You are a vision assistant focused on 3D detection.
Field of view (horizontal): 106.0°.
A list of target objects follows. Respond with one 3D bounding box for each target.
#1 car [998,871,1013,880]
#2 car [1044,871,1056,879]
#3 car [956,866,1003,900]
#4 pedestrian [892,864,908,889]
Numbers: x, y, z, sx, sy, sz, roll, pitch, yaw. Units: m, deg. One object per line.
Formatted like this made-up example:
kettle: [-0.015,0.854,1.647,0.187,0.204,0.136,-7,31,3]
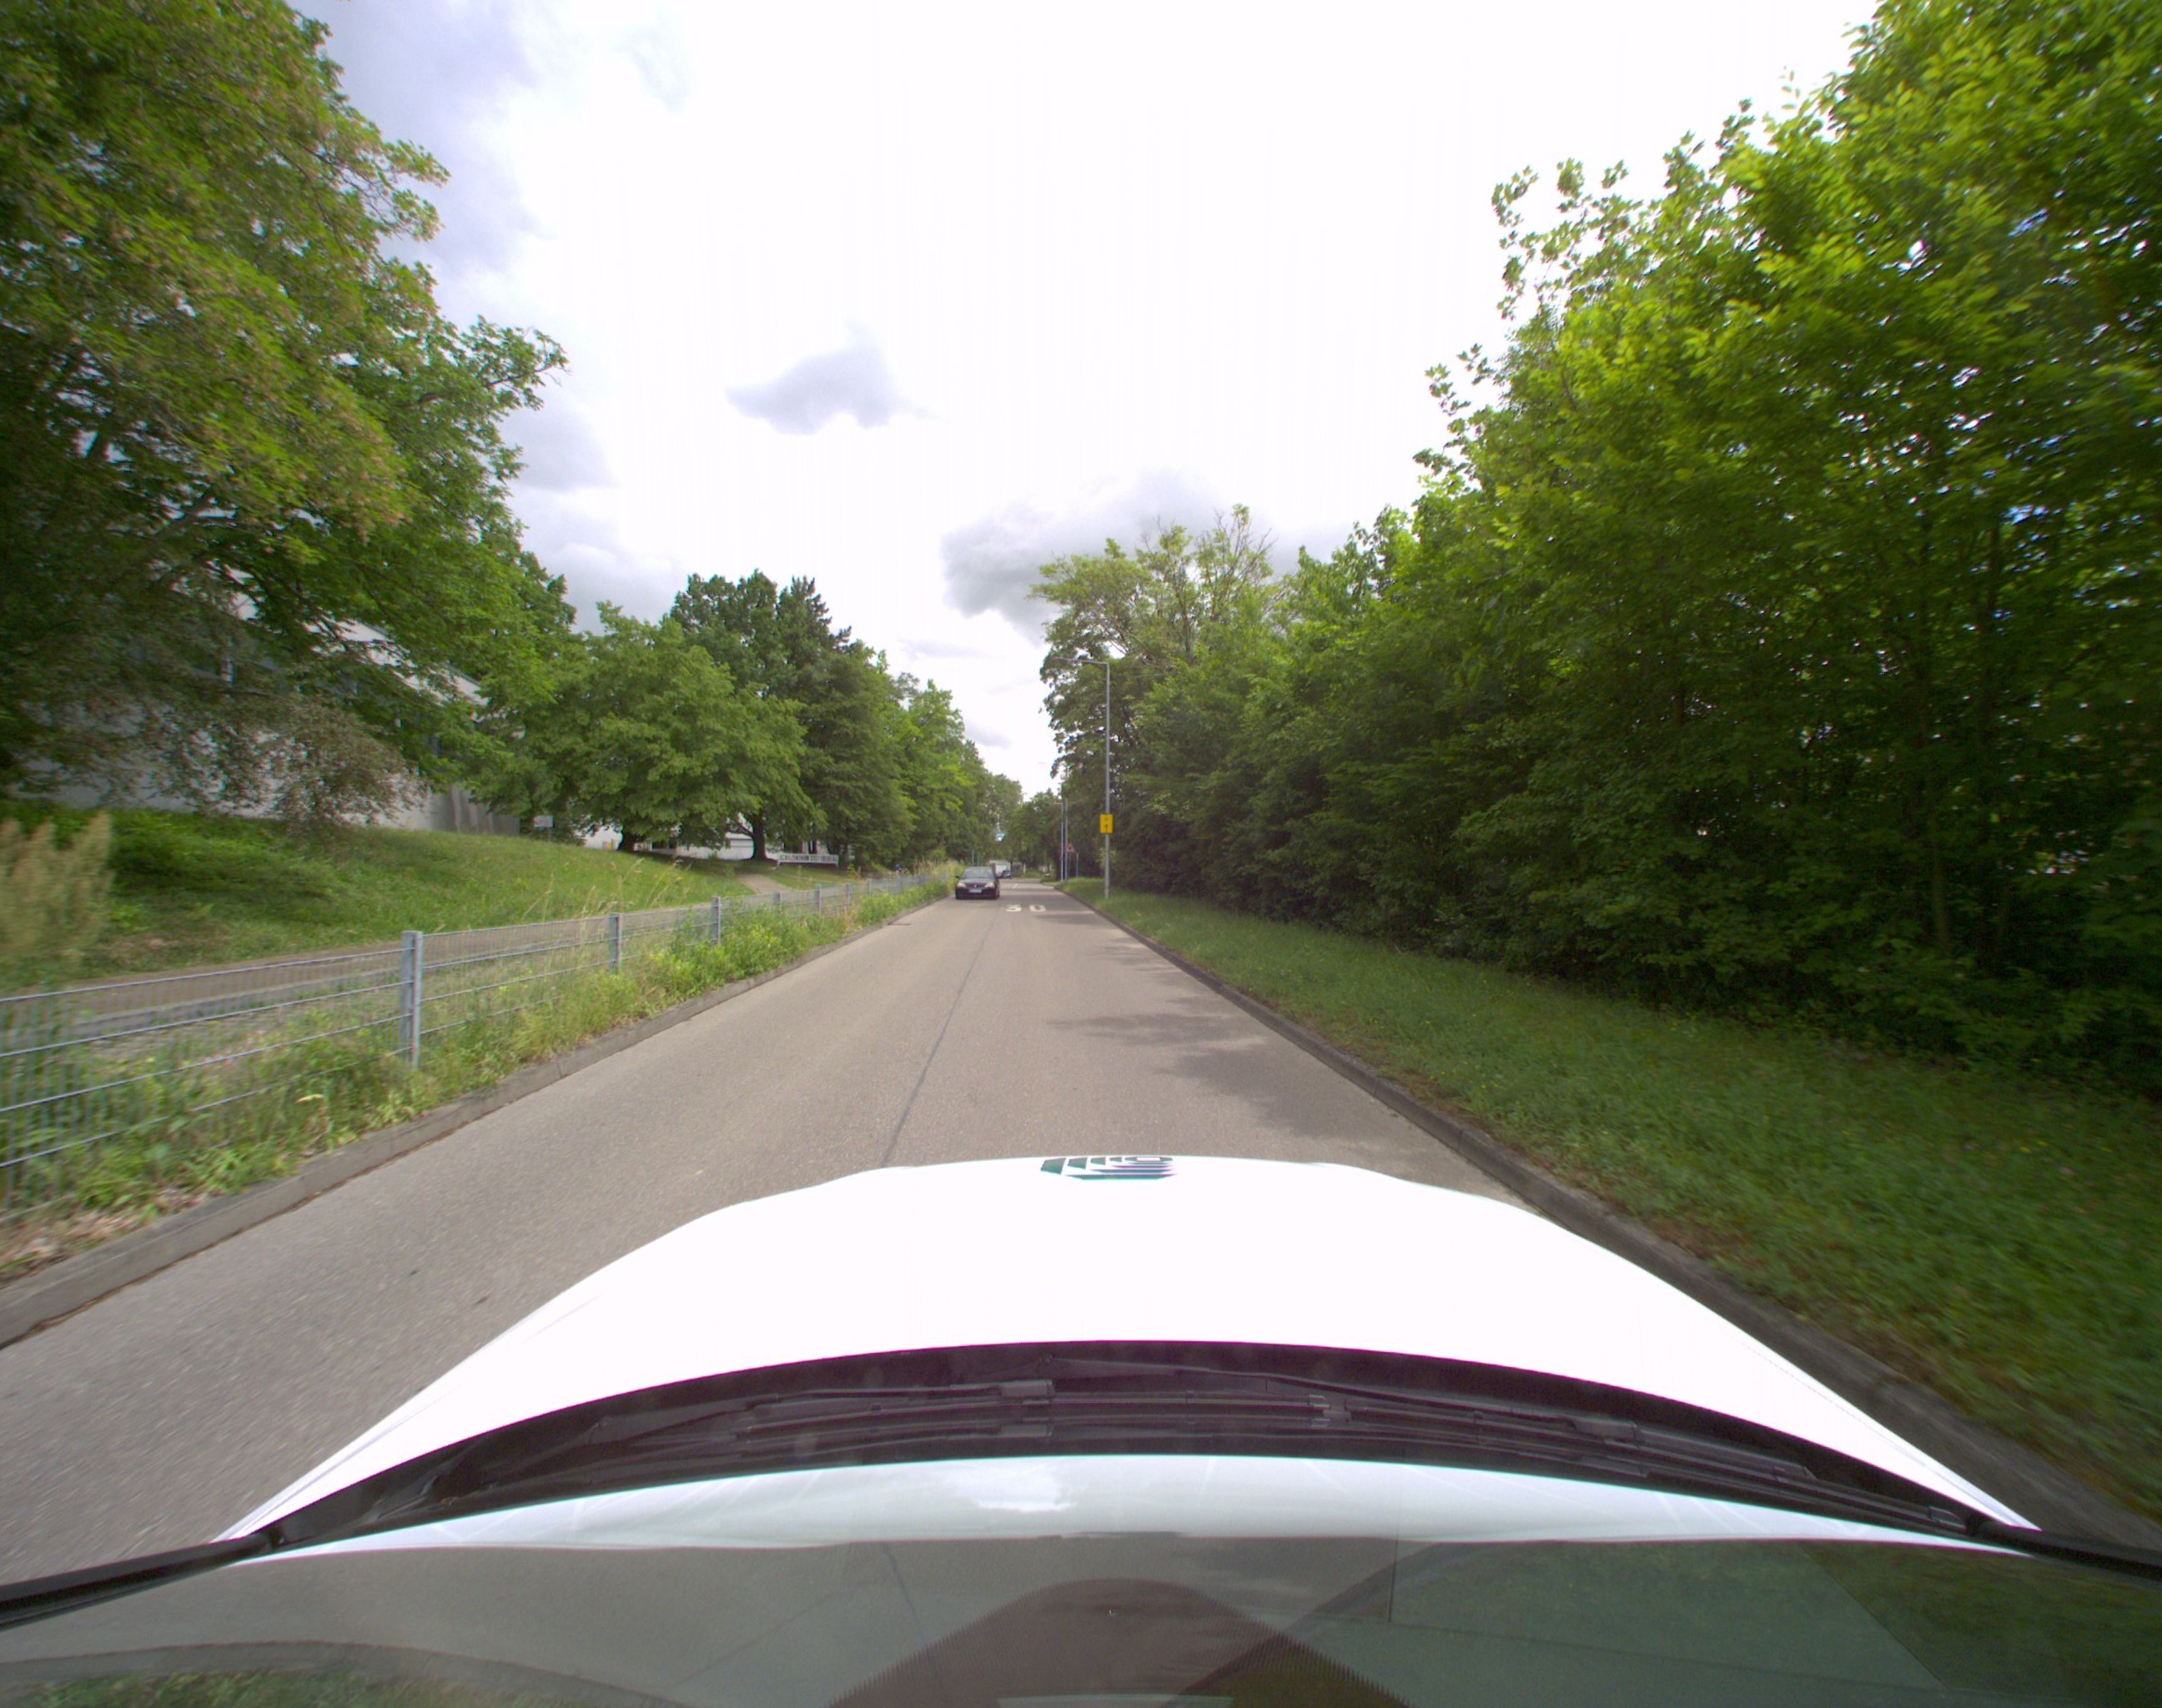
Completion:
car: [-12.645,3.652,137.082,1.971,1.384,4.003,1,-1,3]
car: [-6.644,4.513,175.030,1.848,1.492,4.010,-3,-4,10]
car: [-4.291,1.189,34.823,1.689,1.349,4.090,0,-1,-3]
pedestrian: [-14.684,1.852,66.167,0.867,2.014,0.872,-5,-5,41]
